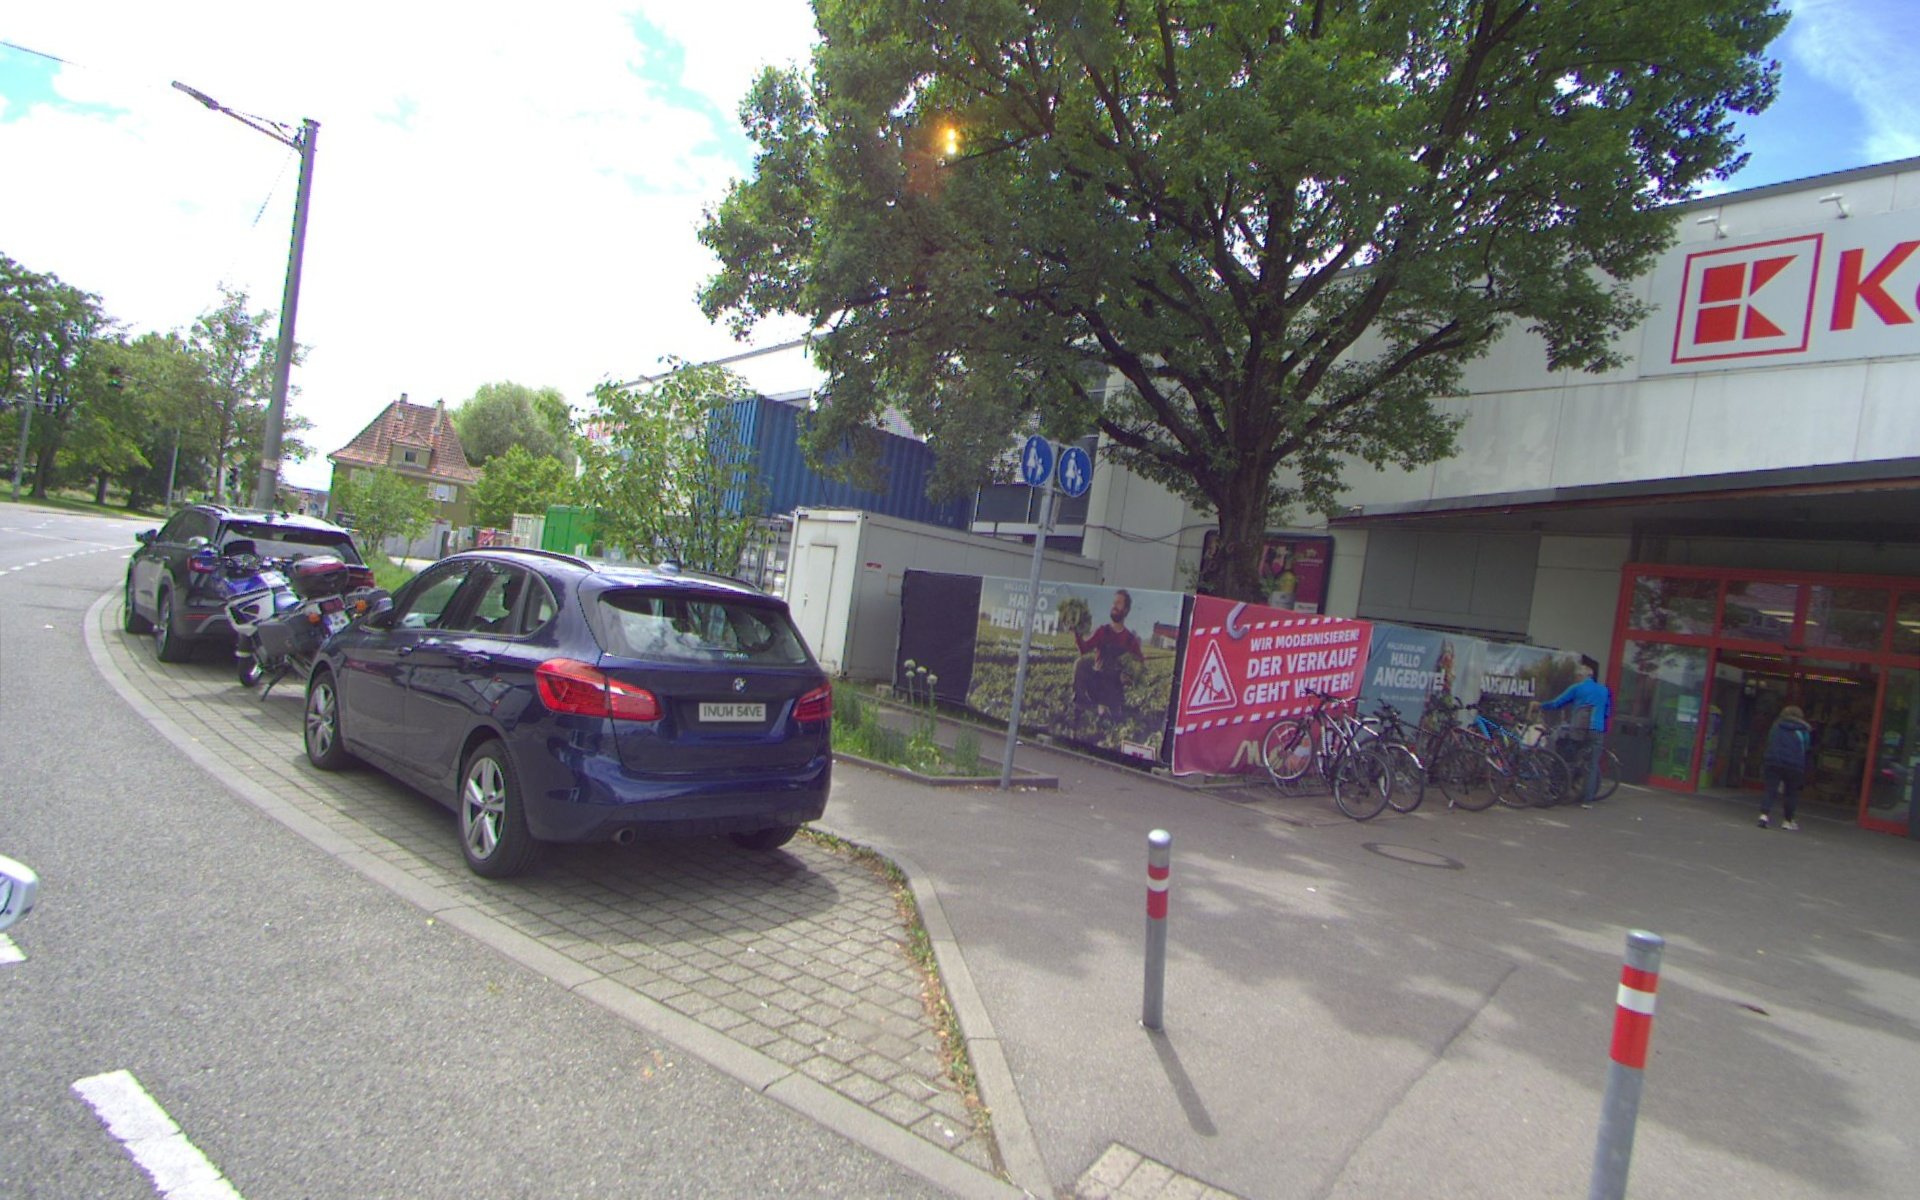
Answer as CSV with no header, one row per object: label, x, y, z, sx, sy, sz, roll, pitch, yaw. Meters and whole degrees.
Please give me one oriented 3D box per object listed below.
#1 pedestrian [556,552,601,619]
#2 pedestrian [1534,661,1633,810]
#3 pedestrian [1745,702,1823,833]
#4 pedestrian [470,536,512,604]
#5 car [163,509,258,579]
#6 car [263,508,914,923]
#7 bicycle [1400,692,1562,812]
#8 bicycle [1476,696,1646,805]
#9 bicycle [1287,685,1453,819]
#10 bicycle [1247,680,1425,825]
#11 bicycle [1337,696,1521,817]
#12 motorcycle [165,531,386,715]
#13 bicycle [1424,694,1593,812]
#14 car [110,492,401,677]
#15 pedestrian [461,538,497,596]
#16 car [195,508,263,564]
pedestrian,-10.078,-0.387,26.545,0.739,1.637,0.759,8,0,-38
pedestrian,8.044,1.730,12.996,0.618,1.779,0.741,5,2,-34
pedestrian,10.641,2.157,12.990,0.621,1.585,0.490,7,0,-36
pedestrian,-12.559,-0.804,26.940,0.649,1.716,0.715,8,0,-44
car,-19.489,-1.484,26.190,1.754,1.496,4.885,5,1,-37
car,-2.576,0.421,6.304,4.369,1.598,1.913,7,0,42
bicycle,6.405,1.849,12.451,0.422,1.169,1.645,8,-1,-36
bicycle,8.363,2.072,14.087,0.525,1.169,1.896,8,-1,-33
bicycle,4.502,1.641,11.185,0.495,1.169,1.764,8,-1,-22
bicycle,3.847,1.532,10.455,0.446,1.169,1.779,8,-1,-26
bicycle,5.444,1.793,11.773,0.518,1.053,1.779,7,0,-43
motorcycle,-6.057,0.157,8.841,2.229,1.322,1.068,7,2,43
bicycle,6.953,1.918,12.836,0.436,1.169,1.749,8,-1,-38
car,-8.385,-0.268,11.757,4.784,1.642,1.874,7,0,45
pedestrian,-15.215,-1.058,31.814,0.649,1.717,0.836,8,0,-38
car,-25.326,-2.223,34.949,1.726,1.637,4.345,5,1,-35
